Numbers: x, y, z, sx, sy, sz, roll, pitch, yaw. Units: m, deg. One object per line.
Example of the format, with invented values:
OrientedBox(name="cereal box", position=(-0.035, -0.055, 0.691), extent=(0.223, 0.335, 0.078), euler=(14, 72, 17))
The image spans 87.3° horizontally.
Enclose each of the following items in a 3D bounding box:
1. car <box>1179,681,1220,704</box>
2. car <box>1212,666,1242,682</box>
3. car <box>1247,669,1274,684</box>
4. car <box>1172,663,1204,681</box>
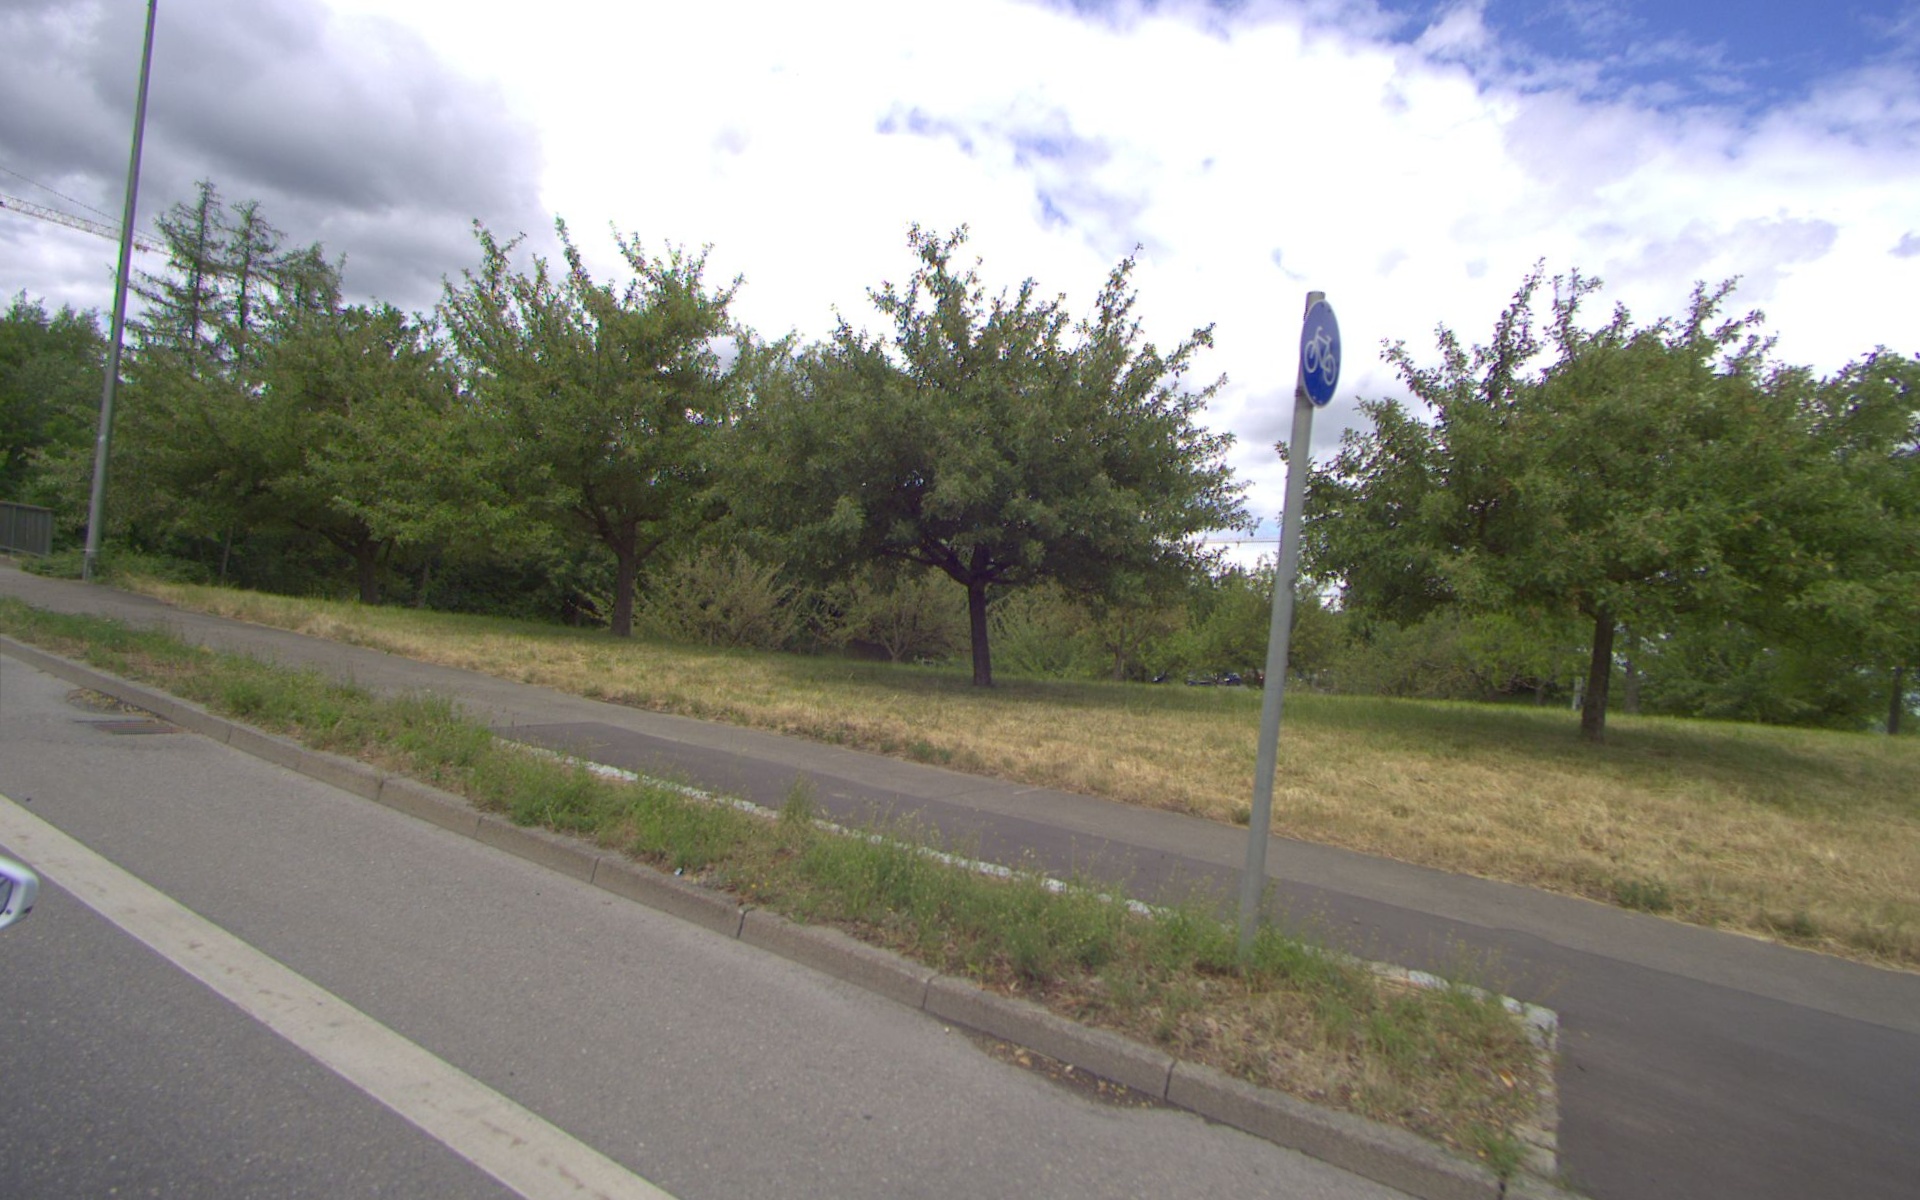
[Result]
OrientedBox(name="car", position=(19.642, 7.533, 82.342), extent=(1.657, 1.561, 3.838), euler=(8, 2, 39))
OrientedBox(name="car", position=(29.321, 8.108, 110.571), extent=(1.656, 1.561, 4.055), euler=(8, 2, 37))
OrientedBox(name="car", position=(35.257, 8.962, 118.046), extent=(1.656, 1.561, 4.055), euler=(8, 2, 37))
OrientedBox(name="car", position=(23.493, 7.384, 103.570), extent=(1.656, 1.561, 3.840), euler=(8, 2, 37))
